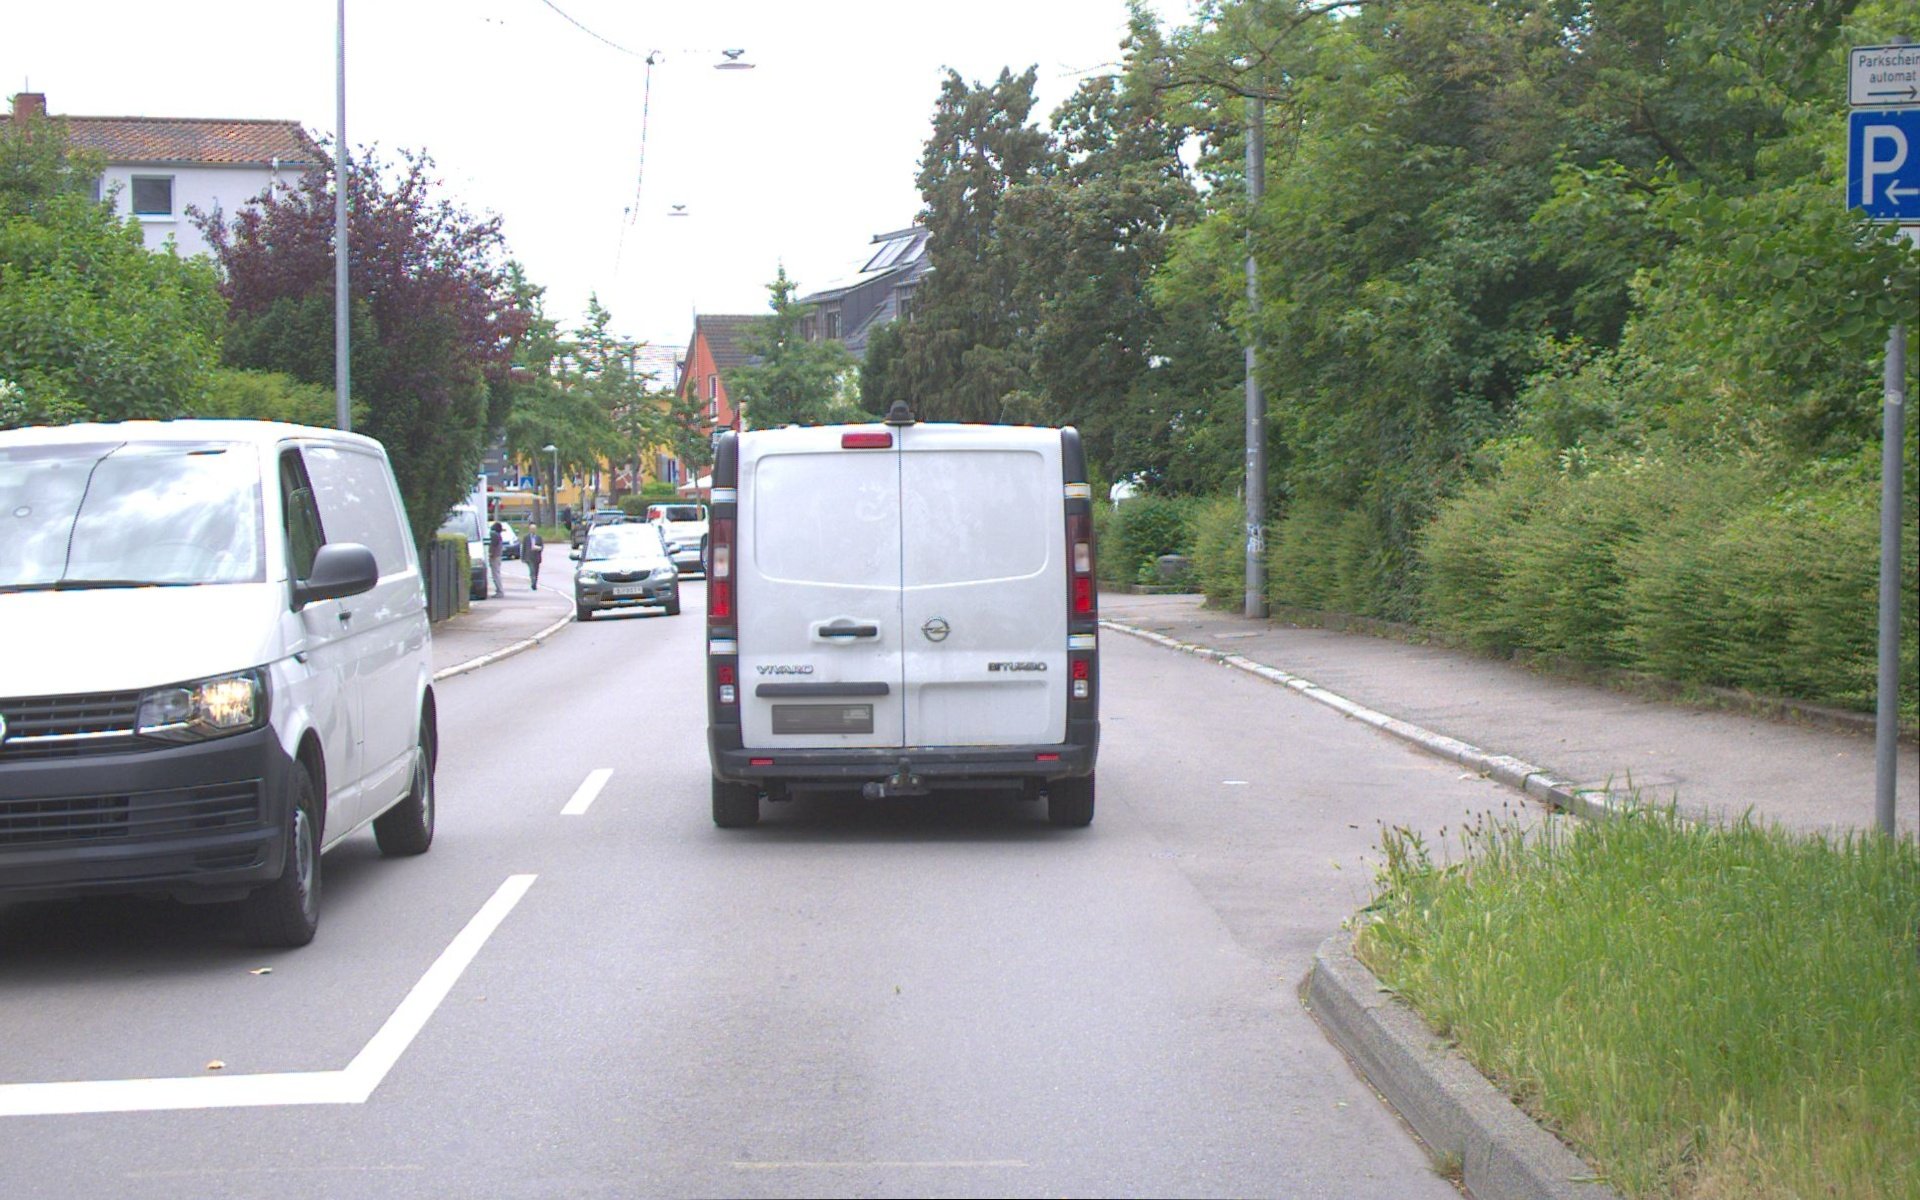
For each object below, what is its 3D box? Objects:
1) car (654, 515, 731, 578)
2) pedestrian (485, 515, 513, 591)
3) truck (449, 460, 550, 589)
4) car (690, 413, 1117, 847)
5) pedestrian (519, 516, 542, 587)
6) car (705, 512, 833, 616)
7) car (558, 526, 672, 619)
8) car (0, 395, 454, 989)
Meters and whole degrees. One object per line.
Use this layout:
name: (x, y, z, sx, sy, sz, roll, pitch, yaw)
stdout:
car: (-7.537, -1.514, 96.732, 1.824, 1.722, 4.001, 0, 1, -9)
pedestrian: (-10.374, -1.064, 77.354, 0.418, 1.709, 0.453, 1, 1, 42)
truck: (-10.030, -1.660, 75.059, 1.993, 2.674, 4.001, 1, 1, -6)
car: (-0.339, 0.095, 17.769, 1.930, 1.957, 4.402, 0, 1, -2)
pedestrian: (-10.988, -1.249, 87.994, 0.514, 1.791, 0.542, 1, 1, -6)
car: (-3.474, -0.686, 63.303, 1.897, 1.853, 4.404, 0, 1, 3)
car: (-6.101, -0.514, 60.522, 1.883, 1.507, 4.114, -2, 2, -7)
car: (-3.311, 0.244, 13.808, 1.867, 1.904, 5.116, -3, 2, -2)
